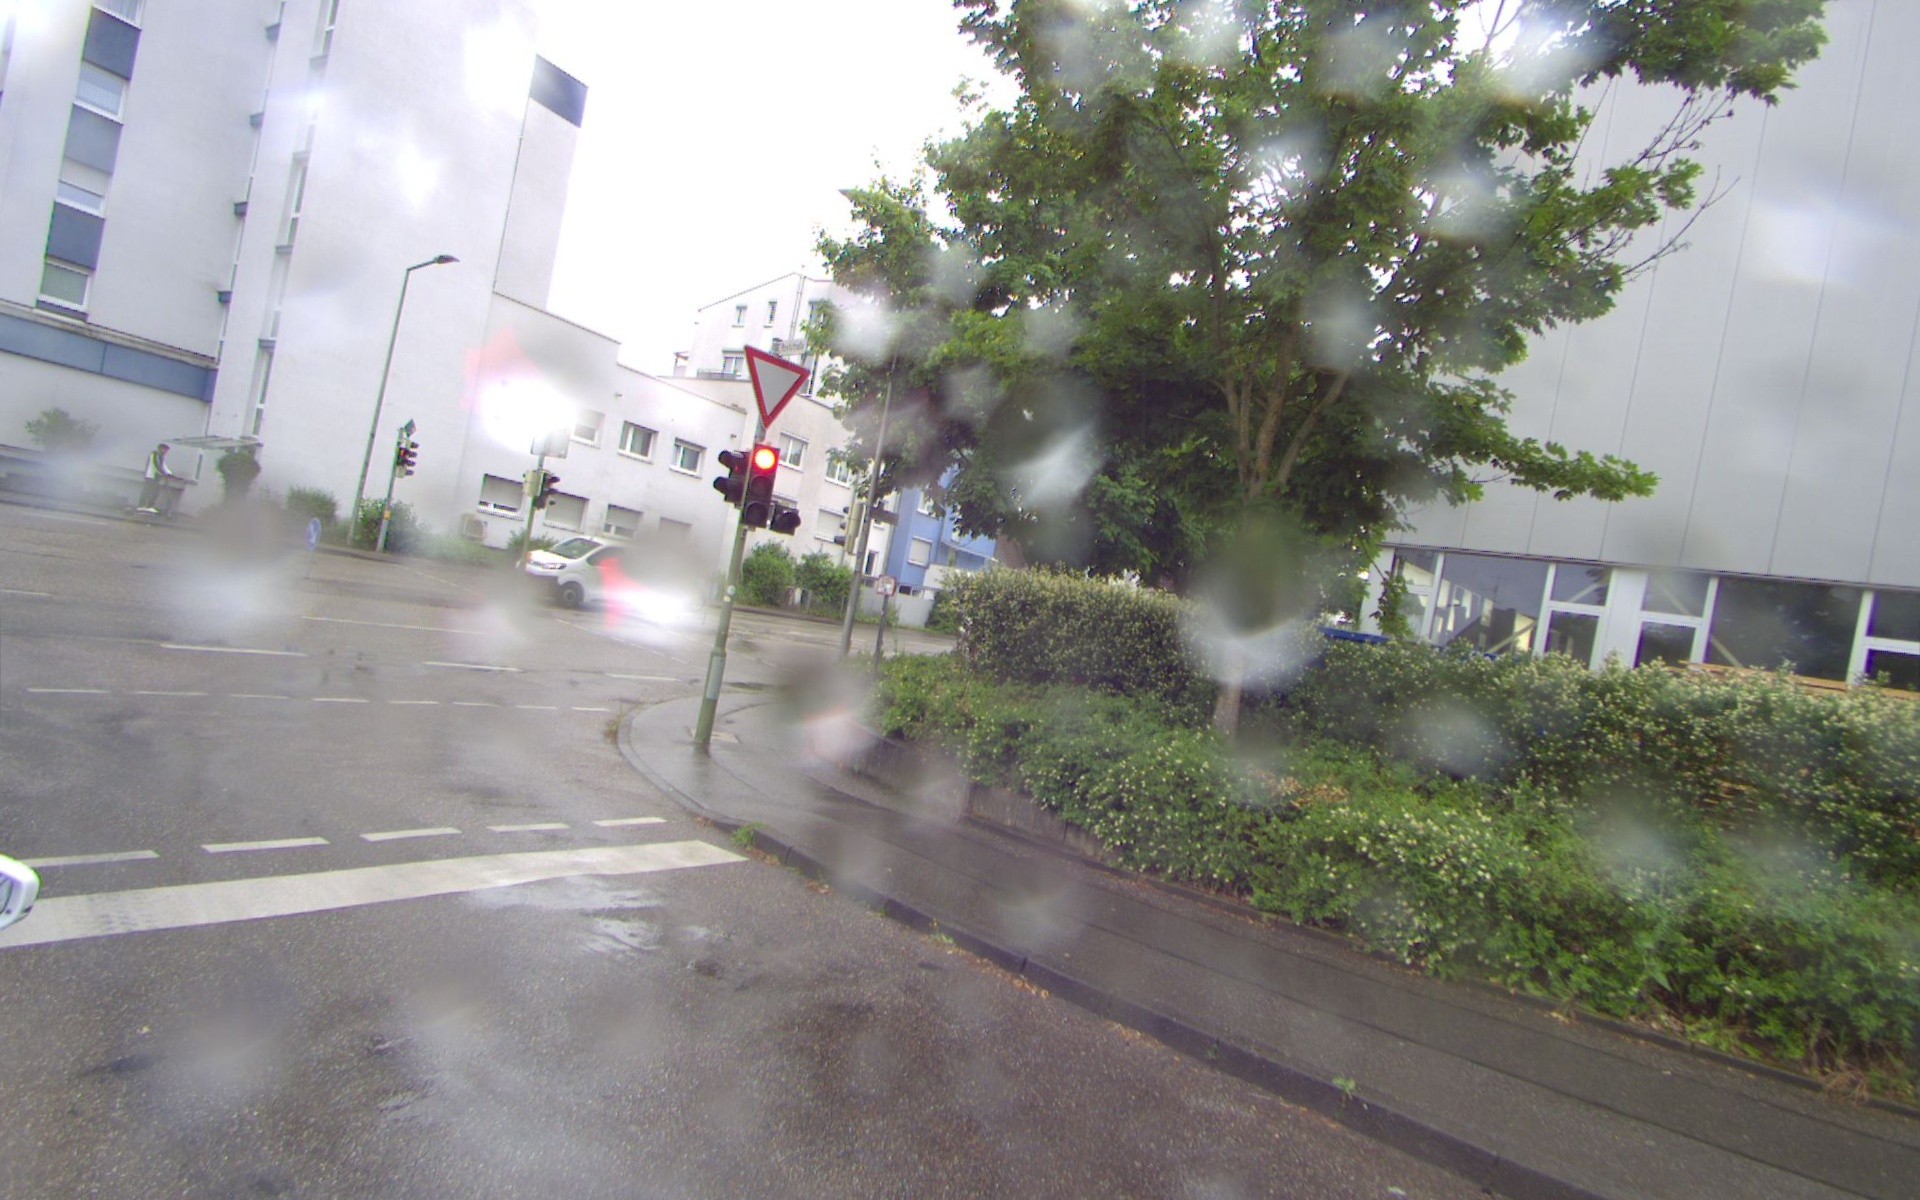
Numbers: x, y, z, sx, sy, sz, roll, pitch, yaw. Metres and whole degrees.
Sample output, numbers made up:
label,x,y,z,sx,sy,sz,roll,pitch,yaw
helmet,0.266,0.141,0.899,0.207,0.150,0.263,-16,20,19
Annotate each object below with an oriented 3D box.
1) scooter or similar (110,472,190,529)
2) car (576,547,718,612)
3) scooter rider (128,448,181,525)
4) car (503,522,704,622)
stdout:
label,x,y,z,sx,sy,sz,roll,pitch,yaw
scooter or similar,-20.775,-2.540,25.829,1.297,1.185,0.755,9,0,-21
car,-10.157,-0.632,32.887,1.803,1.485,3.989,9,0,36
scooter rider,-20.675,-2.904,25.826,0.664,1.817,0.750,8,1,-21
car,-9.666,-0.707,27.630,1.800,1.938,4.816,7,-2,39
